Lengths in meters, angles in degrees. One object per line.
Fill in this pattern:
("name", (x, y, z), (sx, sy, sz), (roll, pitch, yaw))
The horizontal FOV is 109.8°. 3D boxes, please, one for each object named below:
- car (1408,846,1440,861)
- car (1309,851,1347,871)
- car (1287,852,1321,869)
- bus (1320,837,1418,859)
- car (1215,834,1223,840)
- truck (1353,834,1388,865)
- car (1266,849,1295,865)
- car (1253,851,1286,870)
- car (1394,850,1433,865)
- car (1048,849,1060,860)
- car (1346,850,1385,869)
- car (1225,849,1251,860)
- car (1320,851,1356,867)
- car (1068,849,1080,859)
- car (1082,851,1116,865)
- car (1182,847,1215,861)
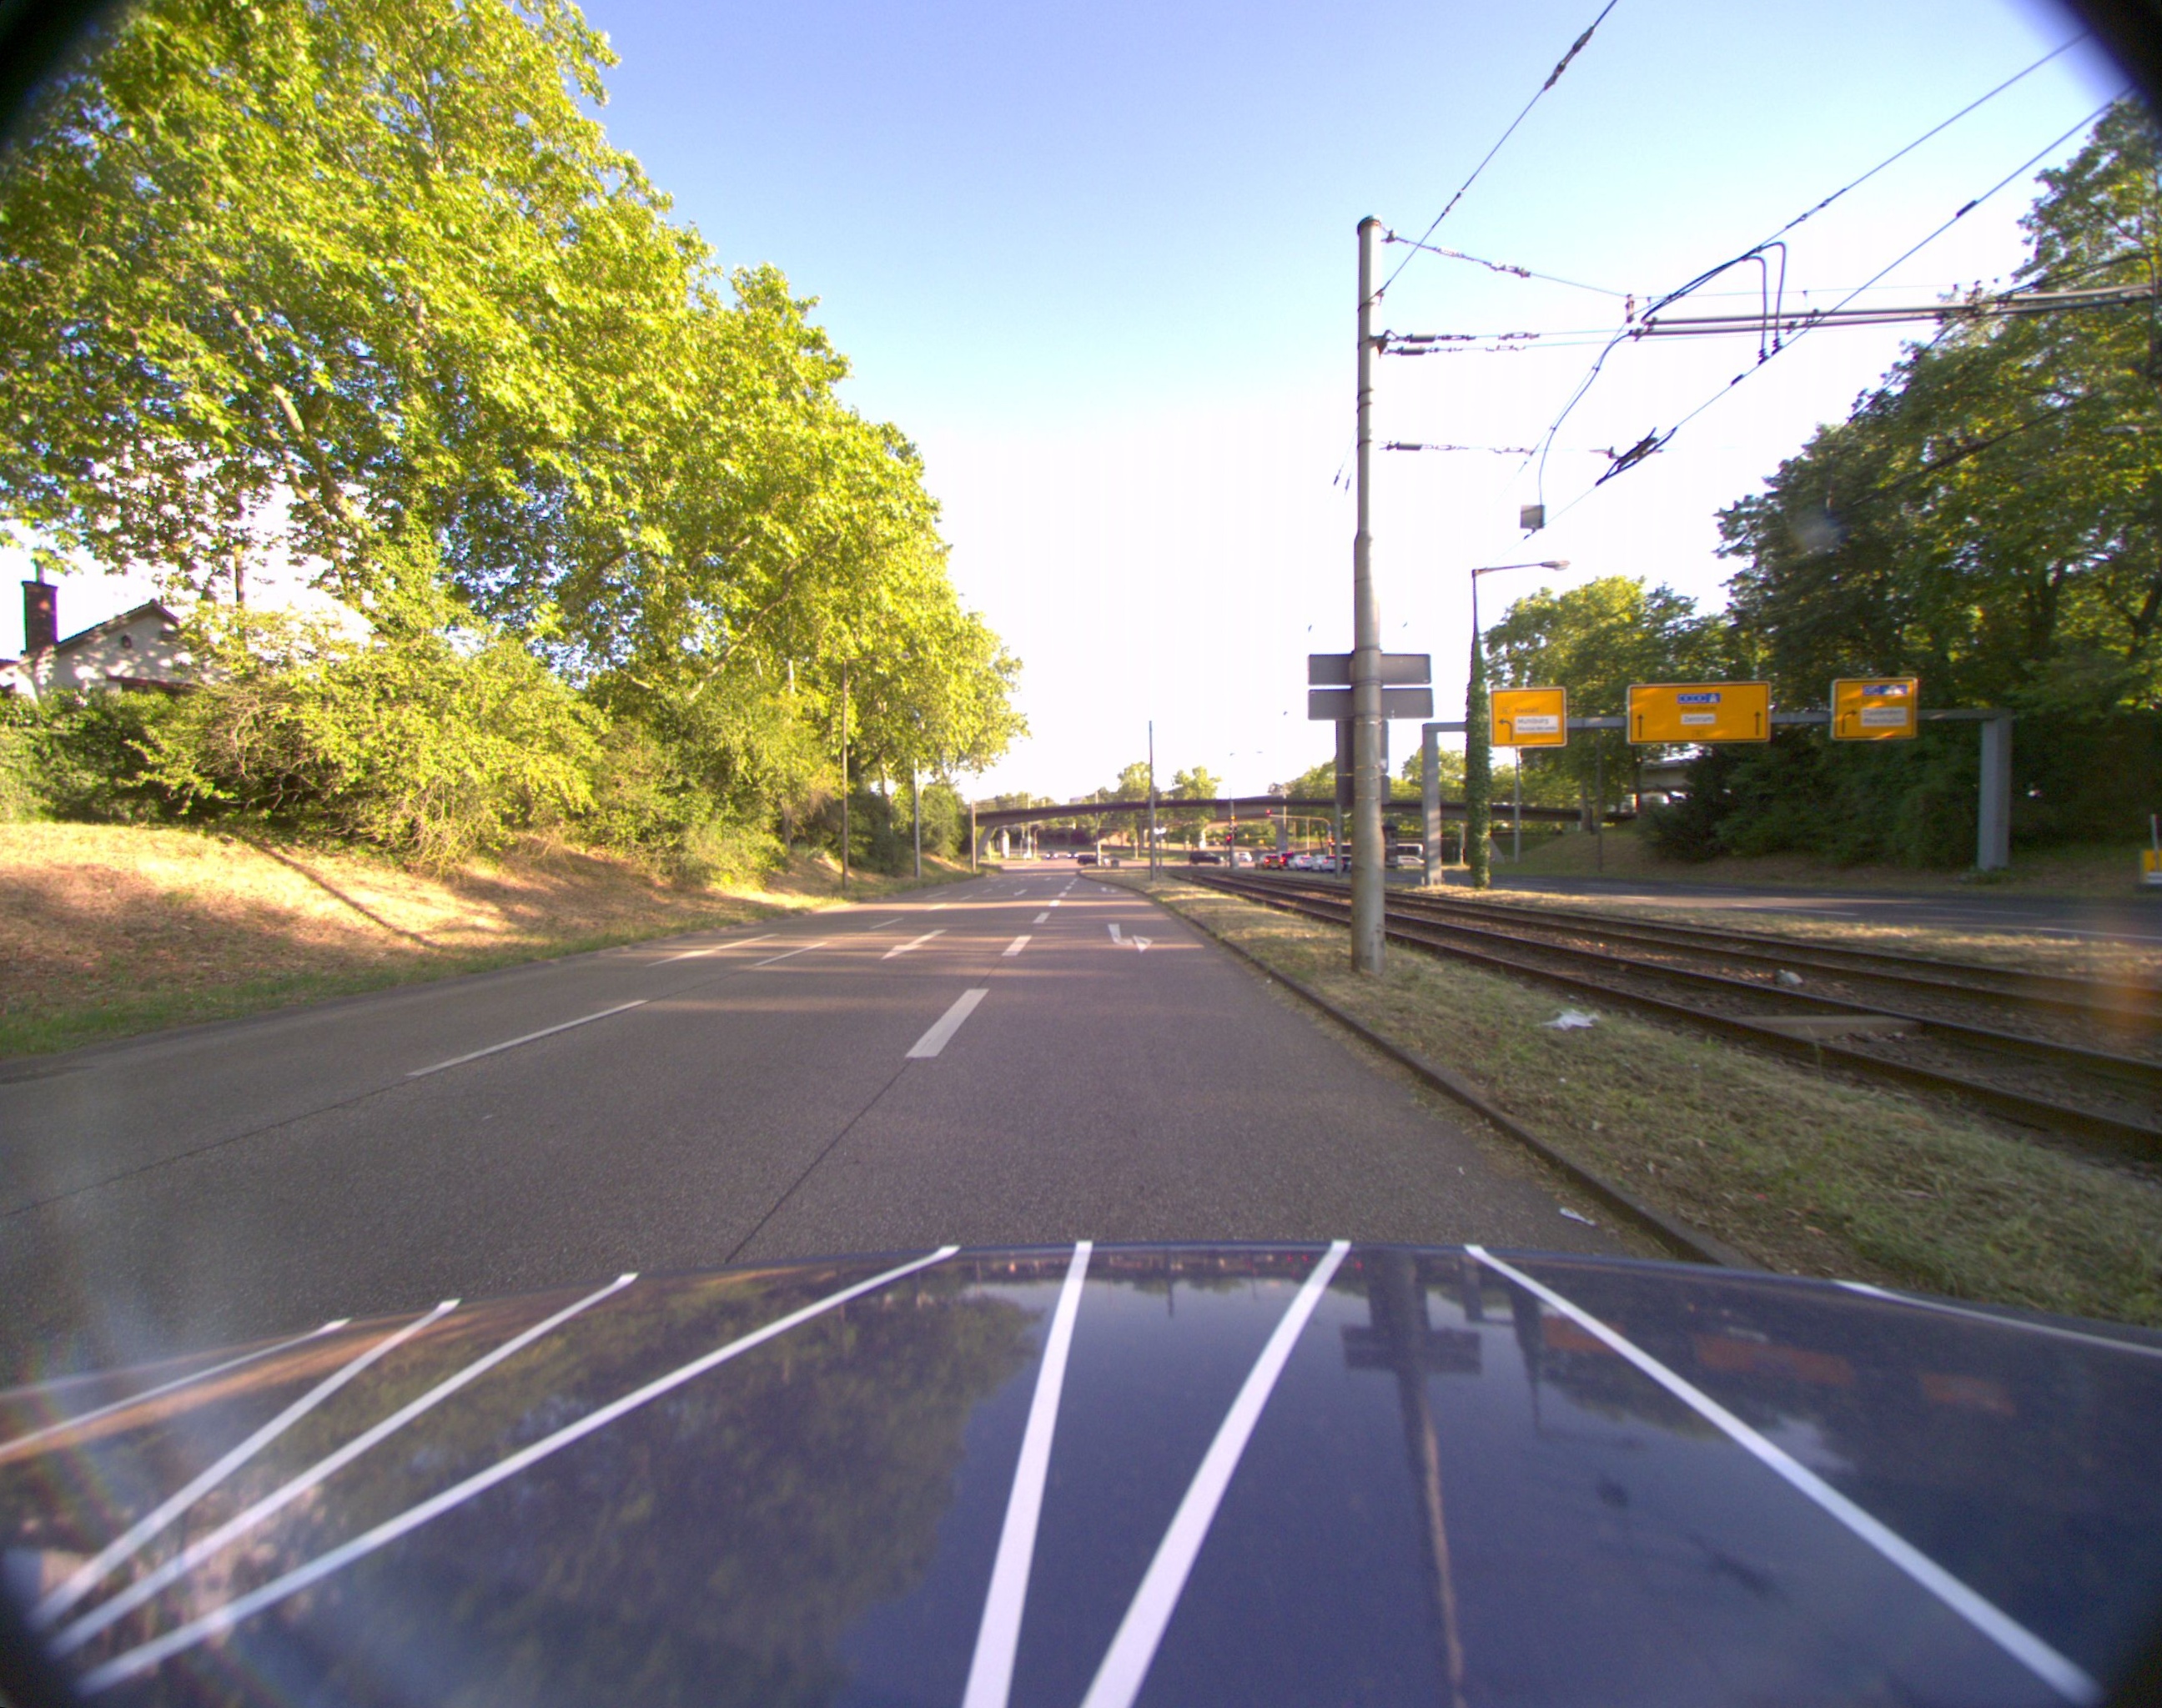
("car", (46.994, -0.077, 104.264), (3.805, 1.848, 1.679), (-2, 1, 20))
("car", (20.033, 0.541, 61.805), (1.767, 1.535, 4.000), (-1, 0, 0))
("car", (19.922, 0.528, 68.084), (1.918, 1.416, 4.227), (-1, 0, 2))
("bus", (41.753, -0.844, 110.541), (13.162, 2.846, 2.421), (-2, 1, 23))
("car", (39.901, -4.797, 219.495), (1.832, 1.609, 3.983), (-2, 1, 7))
("truck", (28.389, -0.441, 74.799), (2.281, 2.862, 6.886), (-1, 0, 13))
("car", (19.588, 0.263, 74.741), (1.917, 1.540, 4.227), (-1, 0, 4))
("car", (16.153, 0.506, 65.236), (1.767, 1.535, 4.000), (-1, 0, 0))
("car", (37.970, 0.418, 86.767), (4.020, 1.485, 1.626), (-2, 1, 23))
("car", (-4.892, 0.076, 139.204), (1.960, 1.779, 3.998), (-2, 0, -5))
("car", (23.980, 0.456, 64.072), (1.813, 1.535, 4.000), (-1, 0, 1))
("car", (24.340, 0.110, 117.522), (3.647, 1.503, 1.665), (-2, 1, 20))
("car", (23.744, 0.458, 70.209), (1.868, 1.416, 4.226), (-1, 0, 0))
("car", (-1.248, 0.021, 141.880), (1.905, 1.726, 3.998), (-2, 0, -5))
("car", (2.377, 0.500, 98.411), (3.993, 1.646, 1.786), (-2, 1, 14))
("car", (15.120, 0.022, 98.014), (3.993, 1.646, 1.786), (-2, 1, 14))
